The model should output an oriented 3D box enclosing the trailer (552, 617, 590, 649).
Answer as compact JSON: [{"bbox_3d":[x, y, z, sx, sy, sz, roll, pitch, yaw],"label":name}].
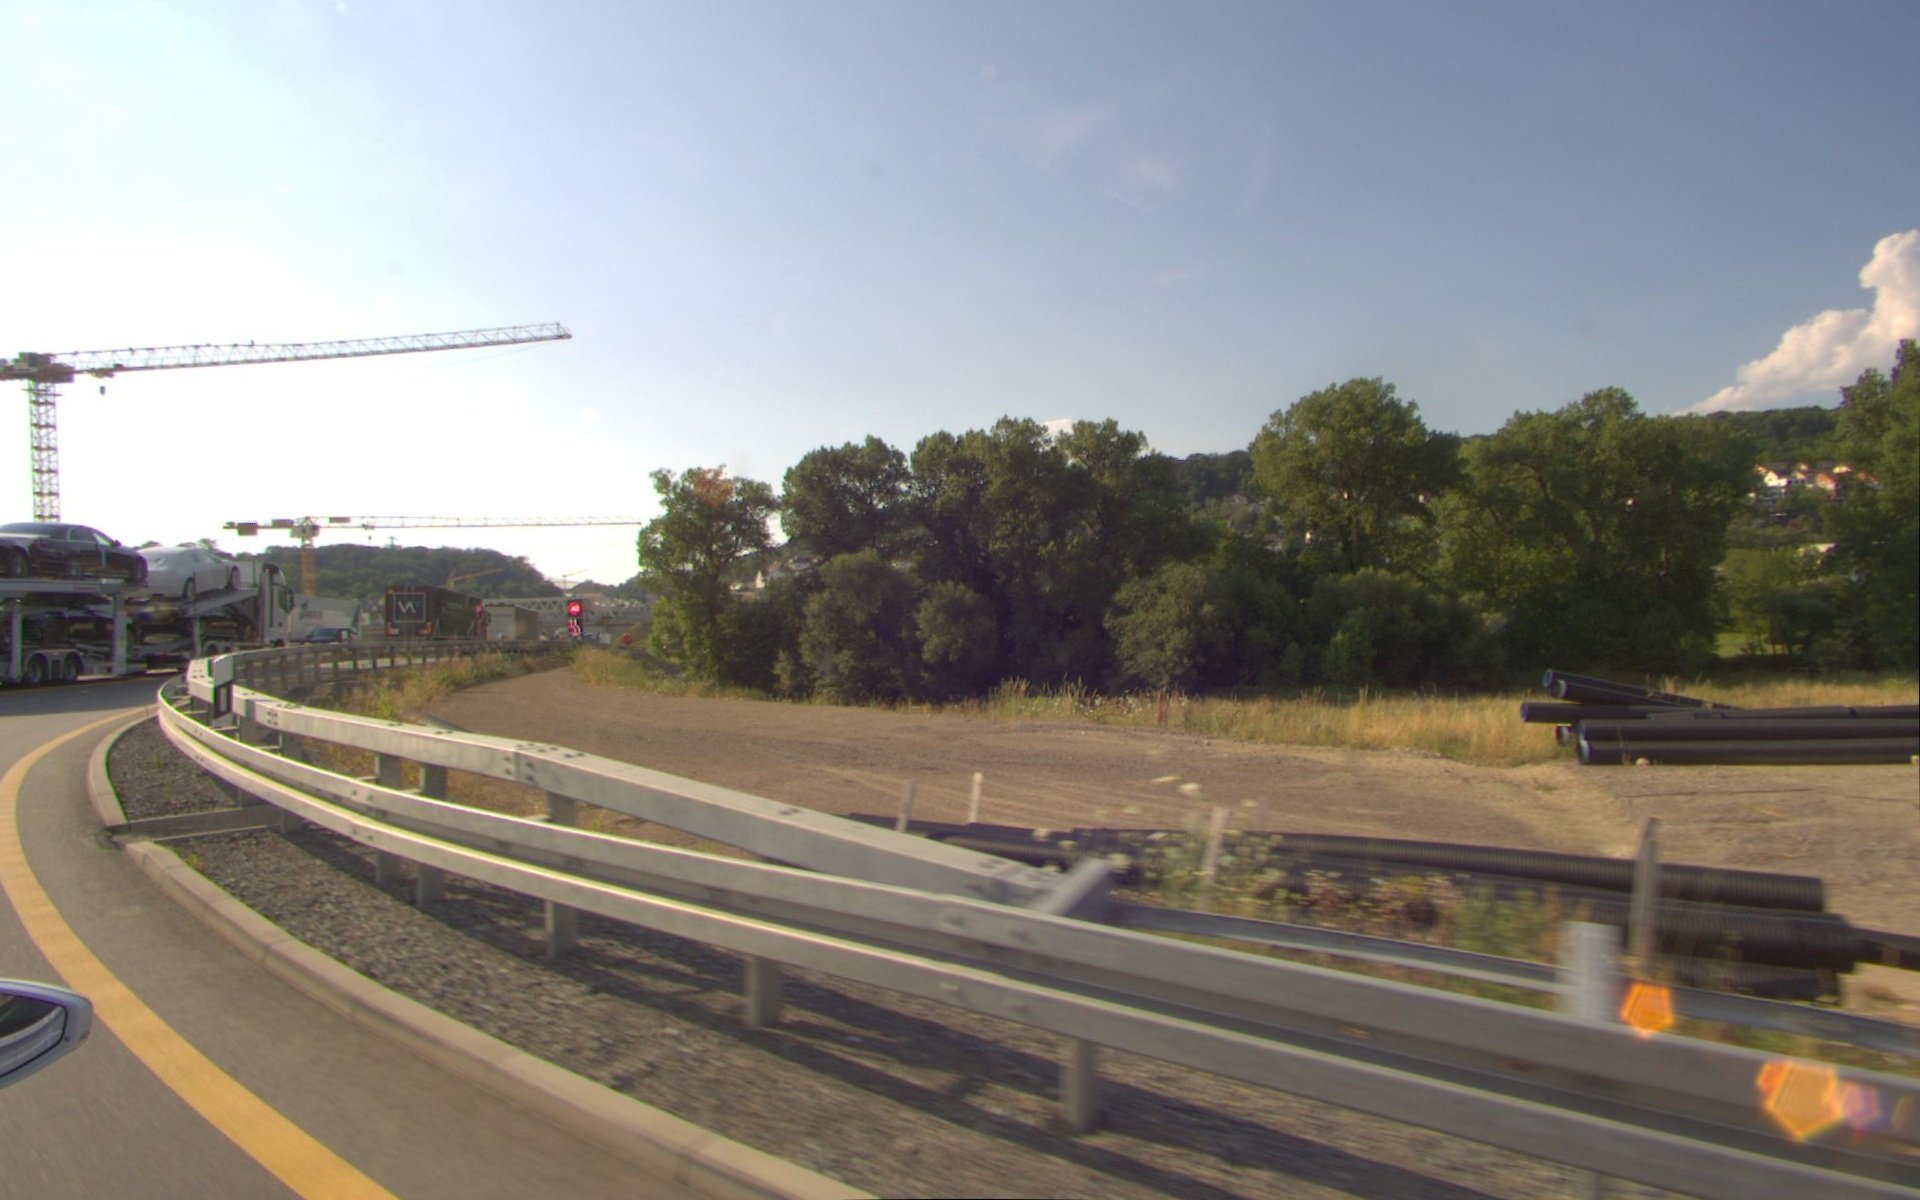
[{"bbox_3d":[-52.757,4.583,136.334,3.335,4.047,14.729,-1,-2,-16],"label":"trailer"}]

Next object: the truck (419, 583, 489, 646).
[{"bbox_3d":[-34.229,1.069,67.995,2.842,4.047,6.619,-1,-2,-15],"label":"truck"}]

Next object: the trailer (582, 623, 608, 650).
[{"bbox_3d":[-62.976,6.309,172.930,3.058,4.368,14.236,-1,-2,-16],"label":"trailer"}]

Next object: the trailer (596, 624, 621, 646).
[{"bbox_3d":[-73.678,7.464,210.329,4.036,4.368,14.236,-1,-2,-16],"label":"trailer"}]

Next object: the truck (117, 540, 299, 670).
[{"bbox_3d":[-25.788,0.273,34.784,2.806,4.047,6.617,-1,-2,-16],"label":"truck"}]

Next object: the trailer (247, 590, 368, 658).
[{"bbox_3d":[-44.621,1.763,69.147,2.588,4.118,14.066,-2,-2,-15],"label":"trailer"}]

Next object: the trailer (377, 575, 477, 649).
[{"bbox_3d":[-32.691,0.894,61.976,2.914,4.143,10.784,-2,-2,-15],"label":"trailer"}]

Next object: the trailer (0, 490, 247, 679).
[{"bbox_3d":[-23.257,-0.119,25.760,2.815,4.047,15.729,-1,-2,-16],"label":"trailer"}]

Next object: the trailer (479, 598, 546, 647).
[{"bbox_3d":[-40.001,2.158,90.028,3.335,4.047,14.729,-1,-2,-16],"label":"trailer"}]

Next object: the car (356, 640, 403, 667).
[{"bbox_3d":[-37.941,3.484,65.544,1.804,1.675,3.994,-2,-2,-18],"label":"car"}]

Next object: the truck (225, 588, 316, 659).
[{"bbox_3d":[-42.799,1.487,62.375,2.588,4.118,6.124,-2,-1,-15],"label":"truck"}]

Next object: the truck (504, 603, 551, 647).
[{"bbox_3d":[-42.237,2.499,98.041,3.294,4.047,6.617,-1,-2,-16],"label":"truck"}]

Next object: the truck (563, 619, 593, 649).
[{"bbox_3d":[-54.828,4.882,143.783,3.340,4.047,6.617,-1,-2,-16],"label":"truck"}]
